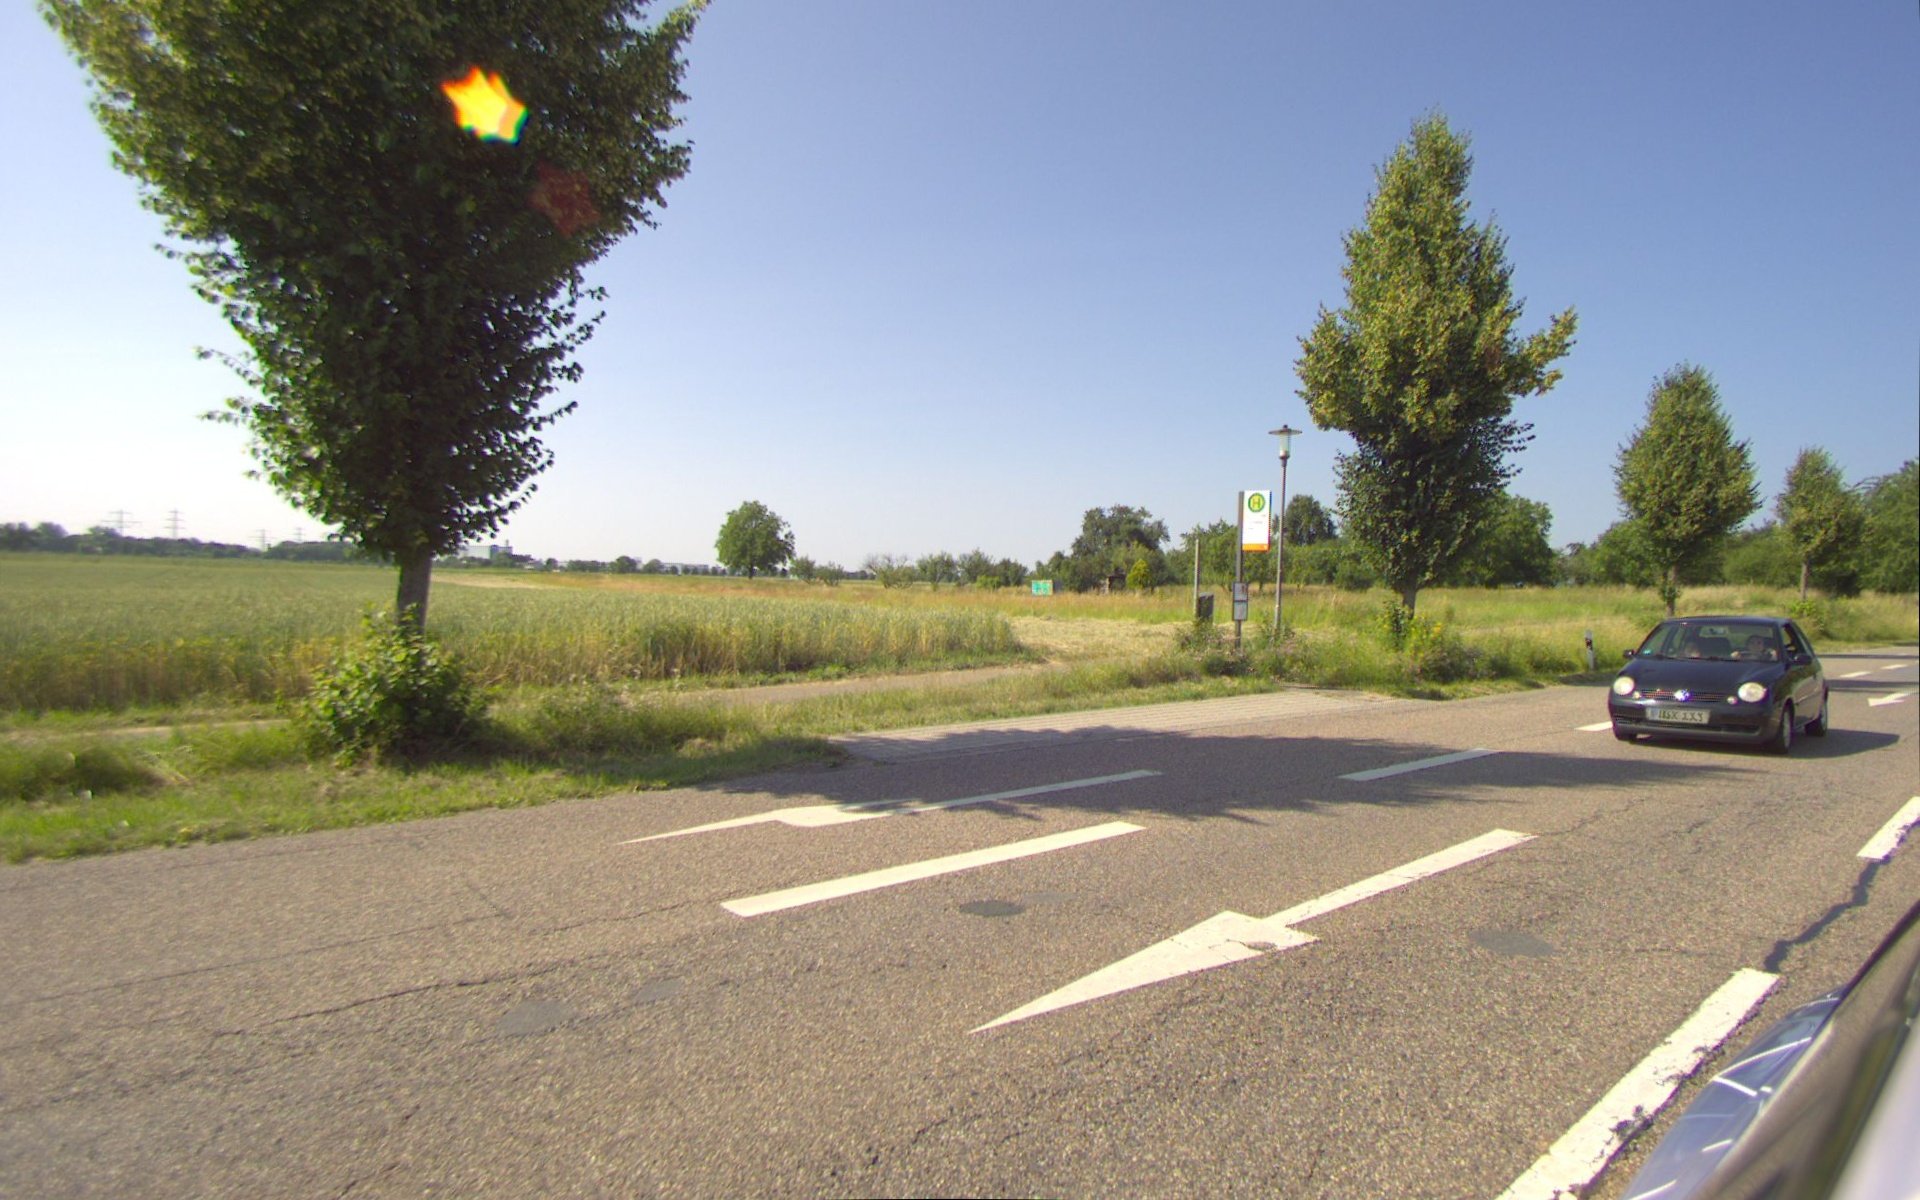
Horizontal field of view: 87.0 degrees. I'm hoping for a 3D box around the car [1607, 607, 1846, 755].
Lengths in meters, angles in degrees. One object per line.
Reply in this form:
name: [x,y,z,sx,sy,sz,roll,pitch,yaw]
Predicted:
car: [8.991,0.807,11.772,3.561,1.451,1.627,0,0,-43]
